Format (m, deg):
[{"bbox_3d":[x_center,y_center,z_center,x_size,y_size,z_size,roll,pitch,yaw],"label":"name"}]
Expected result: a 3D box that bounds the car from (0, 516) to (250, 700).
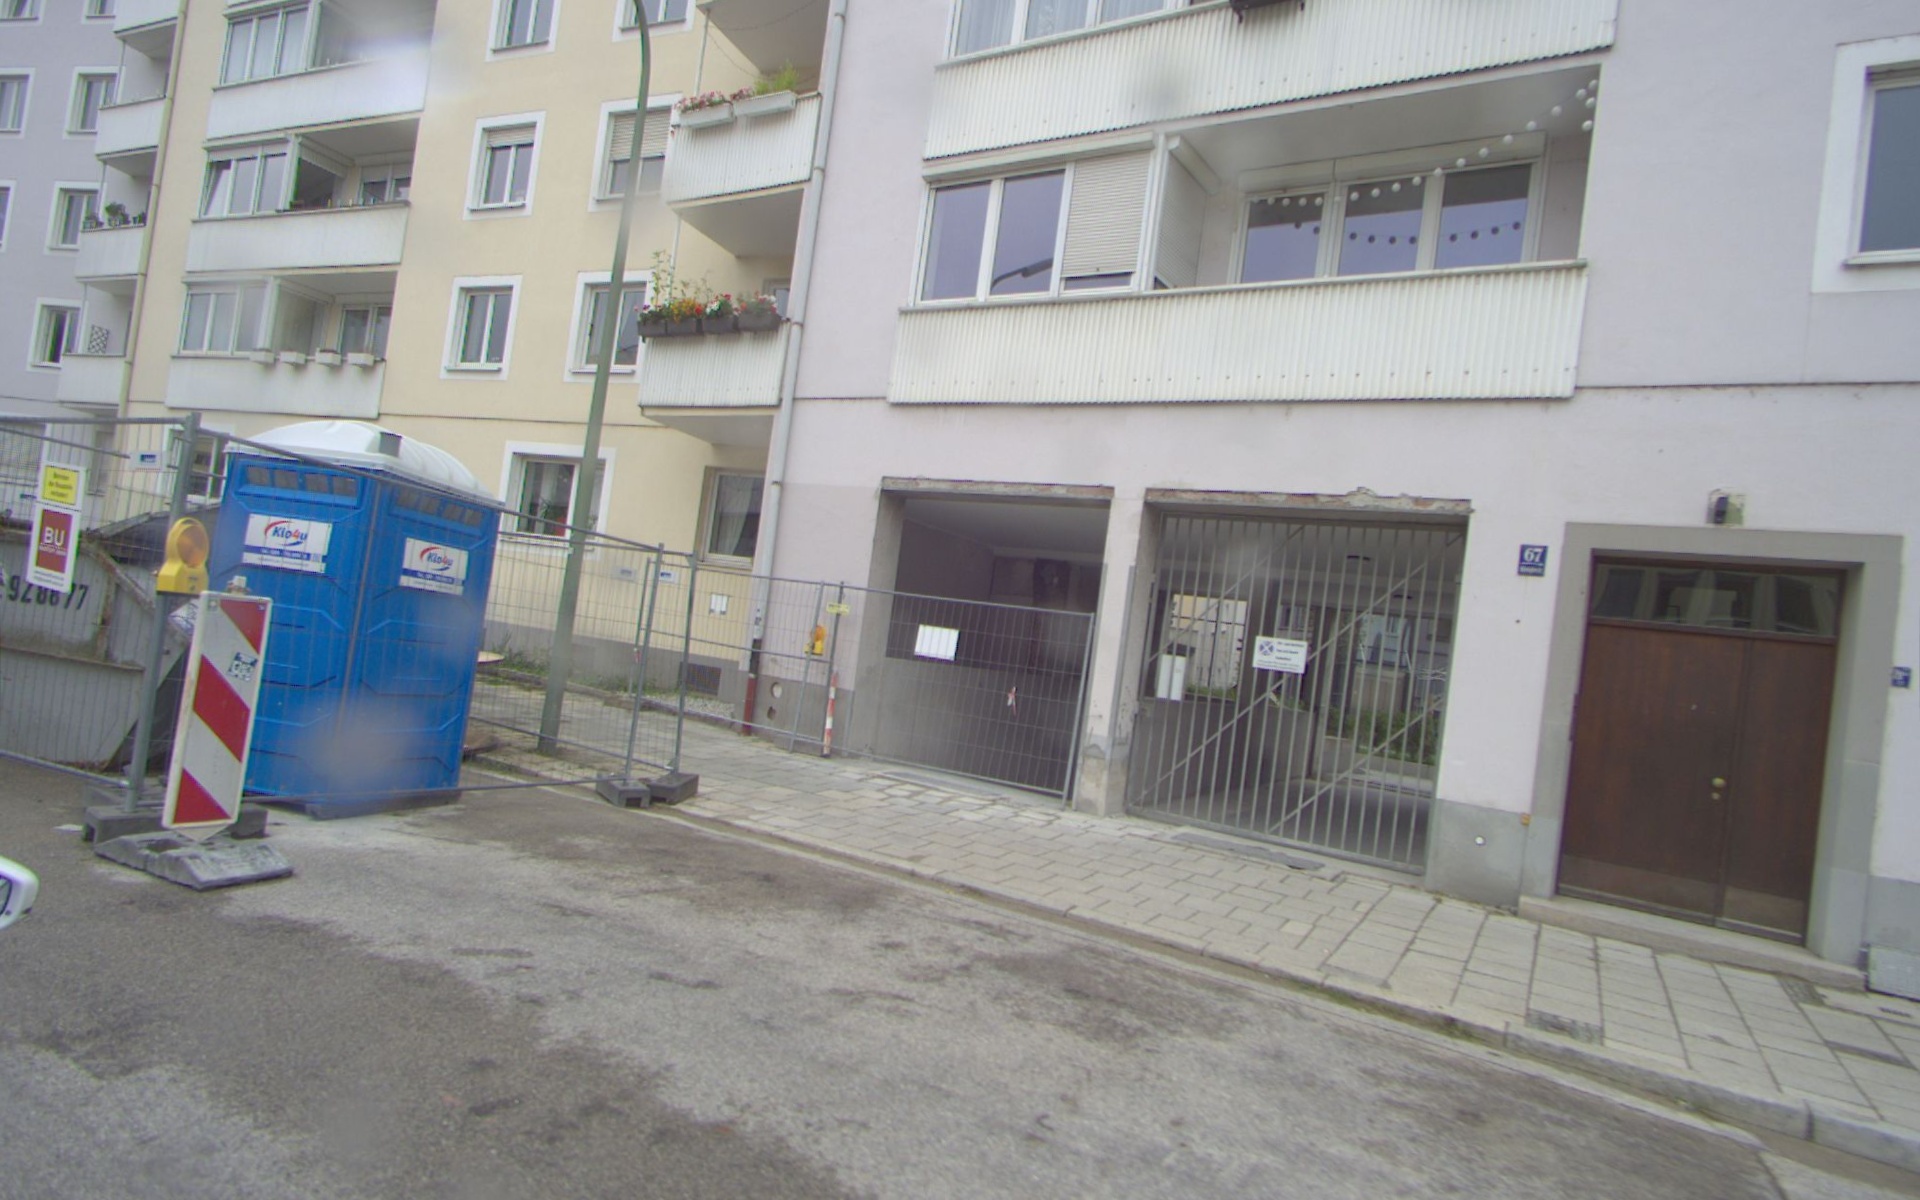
[{"bbox_3d":[-9.640,-0.105,10.105,4.544,1.457,1.839,8,-4,23],"label":"car"}]
